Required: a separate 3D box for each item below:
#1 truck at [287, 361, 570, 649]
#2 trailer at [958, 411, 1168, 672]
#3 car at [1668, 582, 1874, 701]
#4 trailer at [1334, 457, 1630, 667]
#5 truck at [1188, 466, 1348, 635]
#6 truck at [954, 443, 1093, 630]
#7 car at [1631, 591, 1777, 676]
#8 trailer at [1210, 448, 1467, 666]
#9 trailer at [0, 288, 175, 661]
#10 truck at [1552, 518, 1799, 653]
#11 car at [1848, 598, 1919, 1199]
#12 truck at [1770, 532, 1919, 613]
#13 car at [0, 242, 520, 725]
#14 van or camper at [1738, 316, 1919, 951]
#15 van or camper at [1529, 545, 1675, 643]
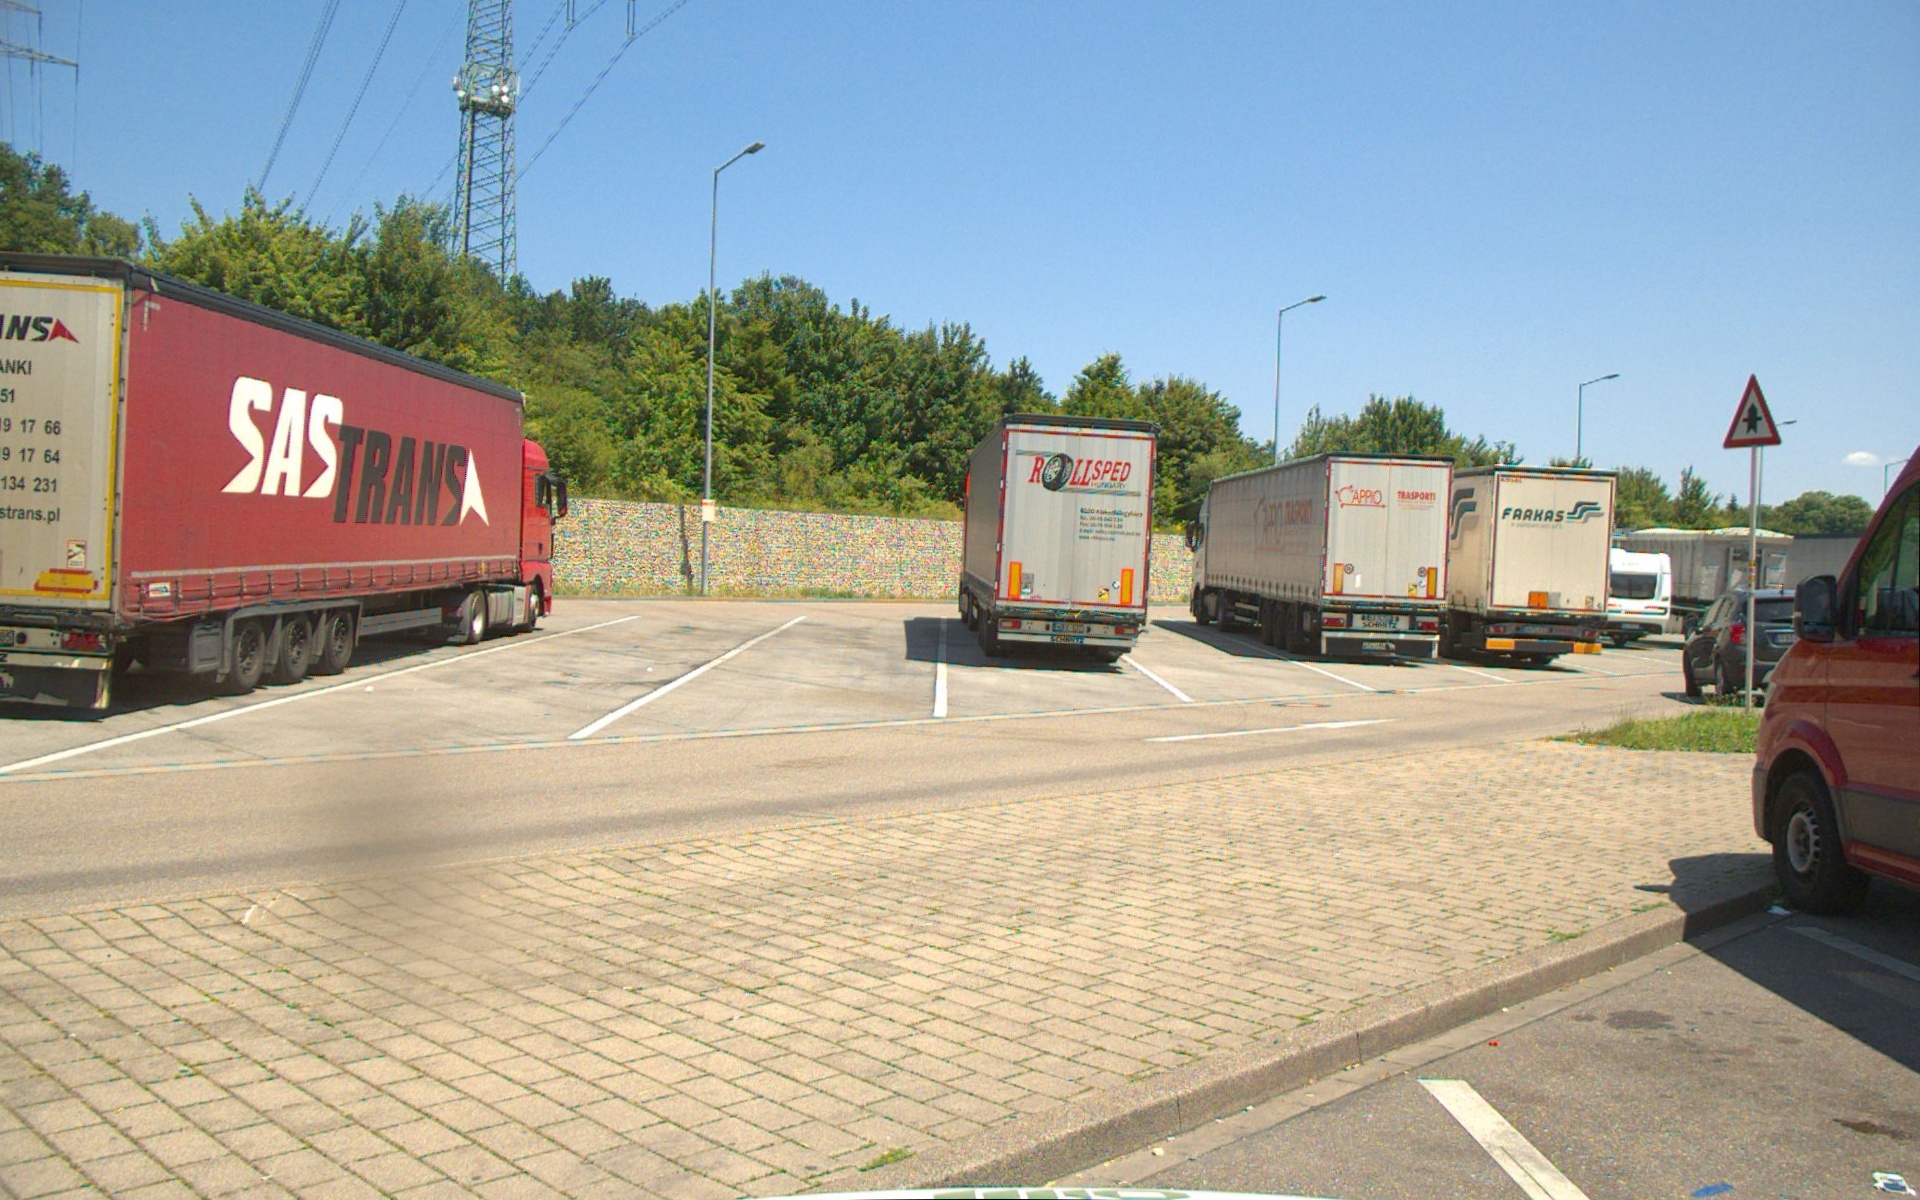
[{"bbox_3d":[-8.700,-1.531,27.877,2.641,4.184,6.239,2,2,0],"label":"truck"},{"bbox_3d":[1.651,-1.239,33.670,2.809,4.107,14.238,2,2,-2],"label":"trailer"},{"bbox_3d":[12.001,0.544,24.741,1.802,1.589,3.953,1,1,12],"label":"car"},{"bbox_3d":[11.819,-1.021,39.223,2.808,4.107,12.438,2,2,-1],"label":"trailer"},{"bbox_3d":[8.163,-1.384,44.736,2.808,4.107,6.956,2,2,-1],"label":"truck"},{"bbox_3d":[1.421,-1.566,40.750,2.809,4.107,7.026,2,2,-2],"label":"truck"},{"bbox_3d":[15.178,0.635,33.929,1.557,1.572,3.642,1,1,4],"label":"car"},{"bbox_3d":[8.243,-1.088,38.105,2.808,4.107,12.438,2,2,-1],"label":"trailer"},{"bbox_3d":[-12.548,-1.407,17.161,2.756,4.341,12.940,2,2,-1],"label":"trailer"},{"bbox_3d":[21.744,-0.645,51.245,2.437,3.630,11.423,2,2,-1],"label":"truck"},{"bbox_3d":[2.539,0.799,1.112,1.584,1.509,3.762,1,1,-6],"label":"car"},{"bbox_3d":[34.697,-1.062,63.638,2.082,2.869,9.777,1,1,-1],"label":"truck"},{"bbox_3d":[-8.678,-1.281,20.960,2.641,4.184,12.935,2,2,0],"label":"car"},{"bbox_3d":[4.988,0.178,5.560,1.954,2.700,6.482,1,1,3],"label":"van or camper"},{"bbox_3d":[18.264,-0.219,47.348,2.061,2.606,5.372,1,1,0],"label":"van or camper"}]
